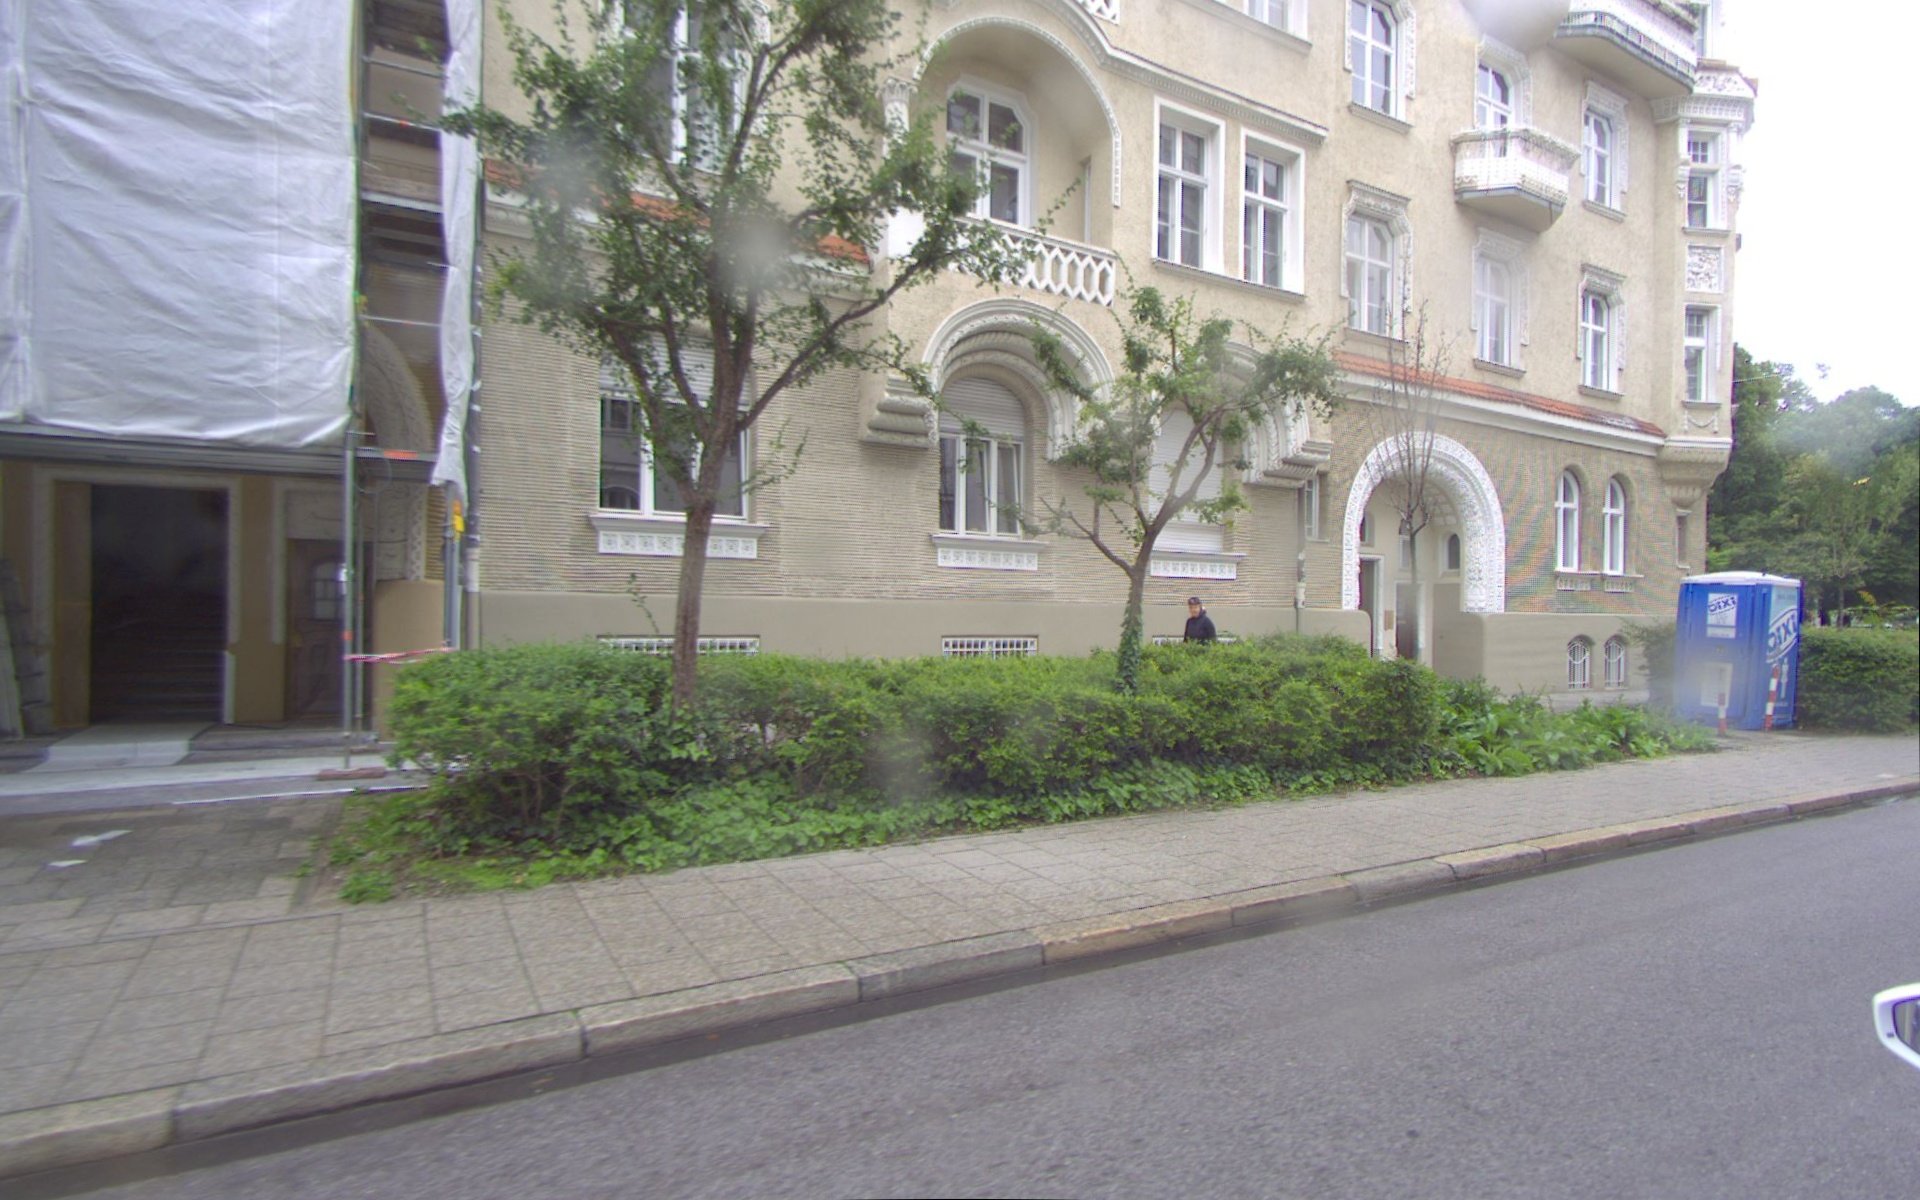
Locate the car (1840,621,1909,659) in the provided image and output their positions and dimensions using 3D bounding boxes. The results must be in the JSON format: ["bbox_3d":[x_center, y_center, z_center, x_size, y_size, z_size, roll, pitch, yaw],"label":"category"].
[{"bbox_3d":[57.388,2.513,63.013,5.143,2.281,2.097,2,-1,-35],"label":"car"}]

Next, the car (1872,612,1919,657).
[{"bbox_3d":[64.809,2.377,68.628,6.512,2.960,2.320,2,-1,-35],"label":"car"}]

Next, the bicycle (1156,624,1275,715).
[{"bbox_3d":[3.827,1.009,15.012,1.682,1.293,0.742,1,-1,-29],"label":"bicycle"}]

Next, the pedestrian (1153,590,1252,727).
[{"bbox_3d":[3.288,0.778,13.640,0.937,1.774,0.909,1,-1,-30],"label":"pedestrian"}]

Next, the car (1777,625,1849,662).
[{"bbox_3d":[46.472,2.354,54.680,4.820,1.920,1.913,2,-1,-36],"label":"car"}]
